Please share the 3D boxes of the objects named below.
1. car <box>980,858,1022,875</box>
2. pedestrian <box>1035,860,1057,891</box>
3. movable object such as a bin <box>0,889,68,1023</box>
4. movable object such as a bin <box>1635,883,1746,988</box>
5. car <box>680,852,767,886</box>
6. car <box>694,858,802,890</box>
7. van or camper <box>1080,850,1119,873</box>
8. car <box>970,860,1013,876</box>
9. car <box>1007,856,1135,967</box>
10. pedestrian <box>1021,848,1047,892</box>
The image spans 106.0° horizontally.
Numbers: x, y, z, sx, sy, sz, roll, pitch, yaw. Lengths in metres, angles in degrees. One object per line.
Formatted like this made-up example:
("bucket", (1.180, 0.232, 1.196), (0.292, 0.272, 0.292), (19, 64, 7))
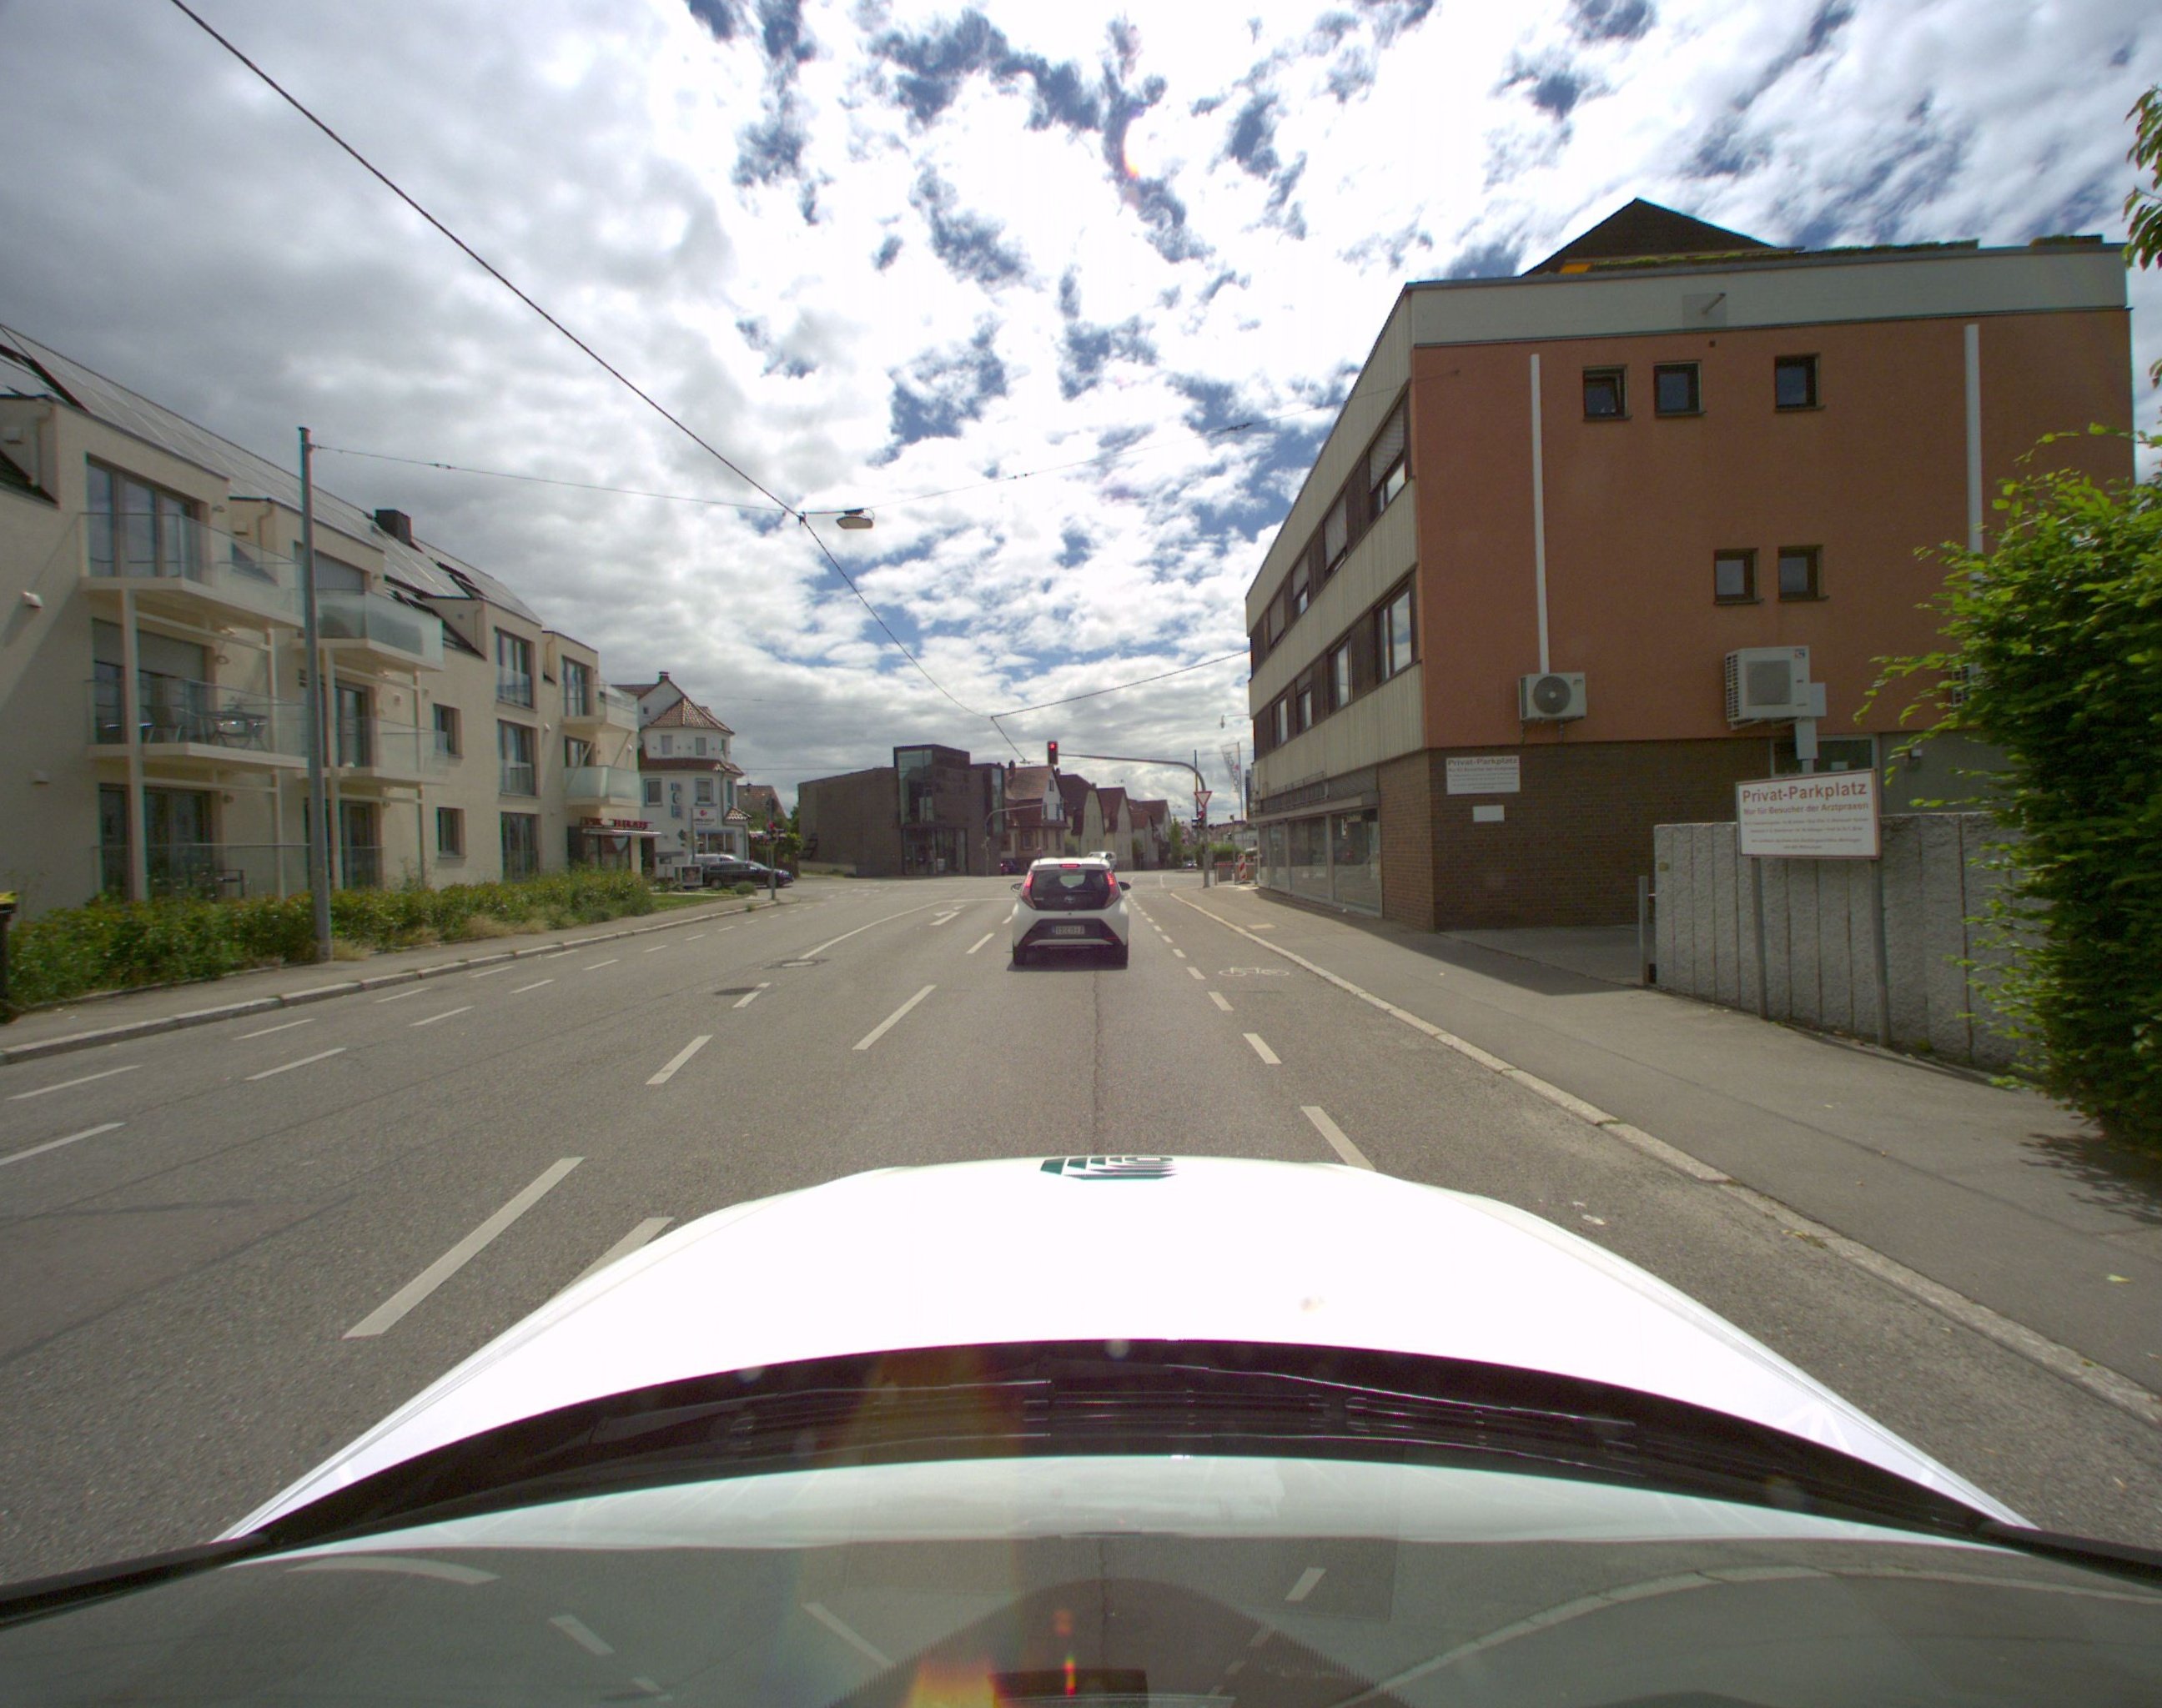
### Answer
("car", (-7.579, 1.217, 77.562), (3.590, 1.605, 1.697), (0, 0, 12))
("pedestrian", (-1.401, 0.867, 32.669), (0.735, 1.221, 0.642), (-1, 0, -19))
("movable object such as a bin", (-11.311, 1.048, 8.043), (1.061, 1.313, 1.215), (-2, 0, 3))
("movable object such as a bin", (6.006, 0.783, 8.049), (0.532, 0.951, 0.684), (-1, 0, -12))
("car", (-20.059, 0.830, 45.841), (4.060, 1.849, 1.993), (0, 0, -10))
("car", (-17.502, 1.039, 43.020), (4.891, 1.577, 1.995), (0, 0, -7))
("van or camper", (1.691, 0.662, 71.771), (2.099, 1.926, 5.308), (0, 0, 16))
("car", (-8.250, 1.303, 75.108), (3.590, 1.419, 1.697), (0, 0, 12))
("car", (-0.139, 0.764, 12.399), (1.692, 1.456, 3.298), (0, 0, 0))
("pedestrian", (-1.927, 0.646, 33.281), (0.825, 1.721, 0.812), (-1, 0, -19))
